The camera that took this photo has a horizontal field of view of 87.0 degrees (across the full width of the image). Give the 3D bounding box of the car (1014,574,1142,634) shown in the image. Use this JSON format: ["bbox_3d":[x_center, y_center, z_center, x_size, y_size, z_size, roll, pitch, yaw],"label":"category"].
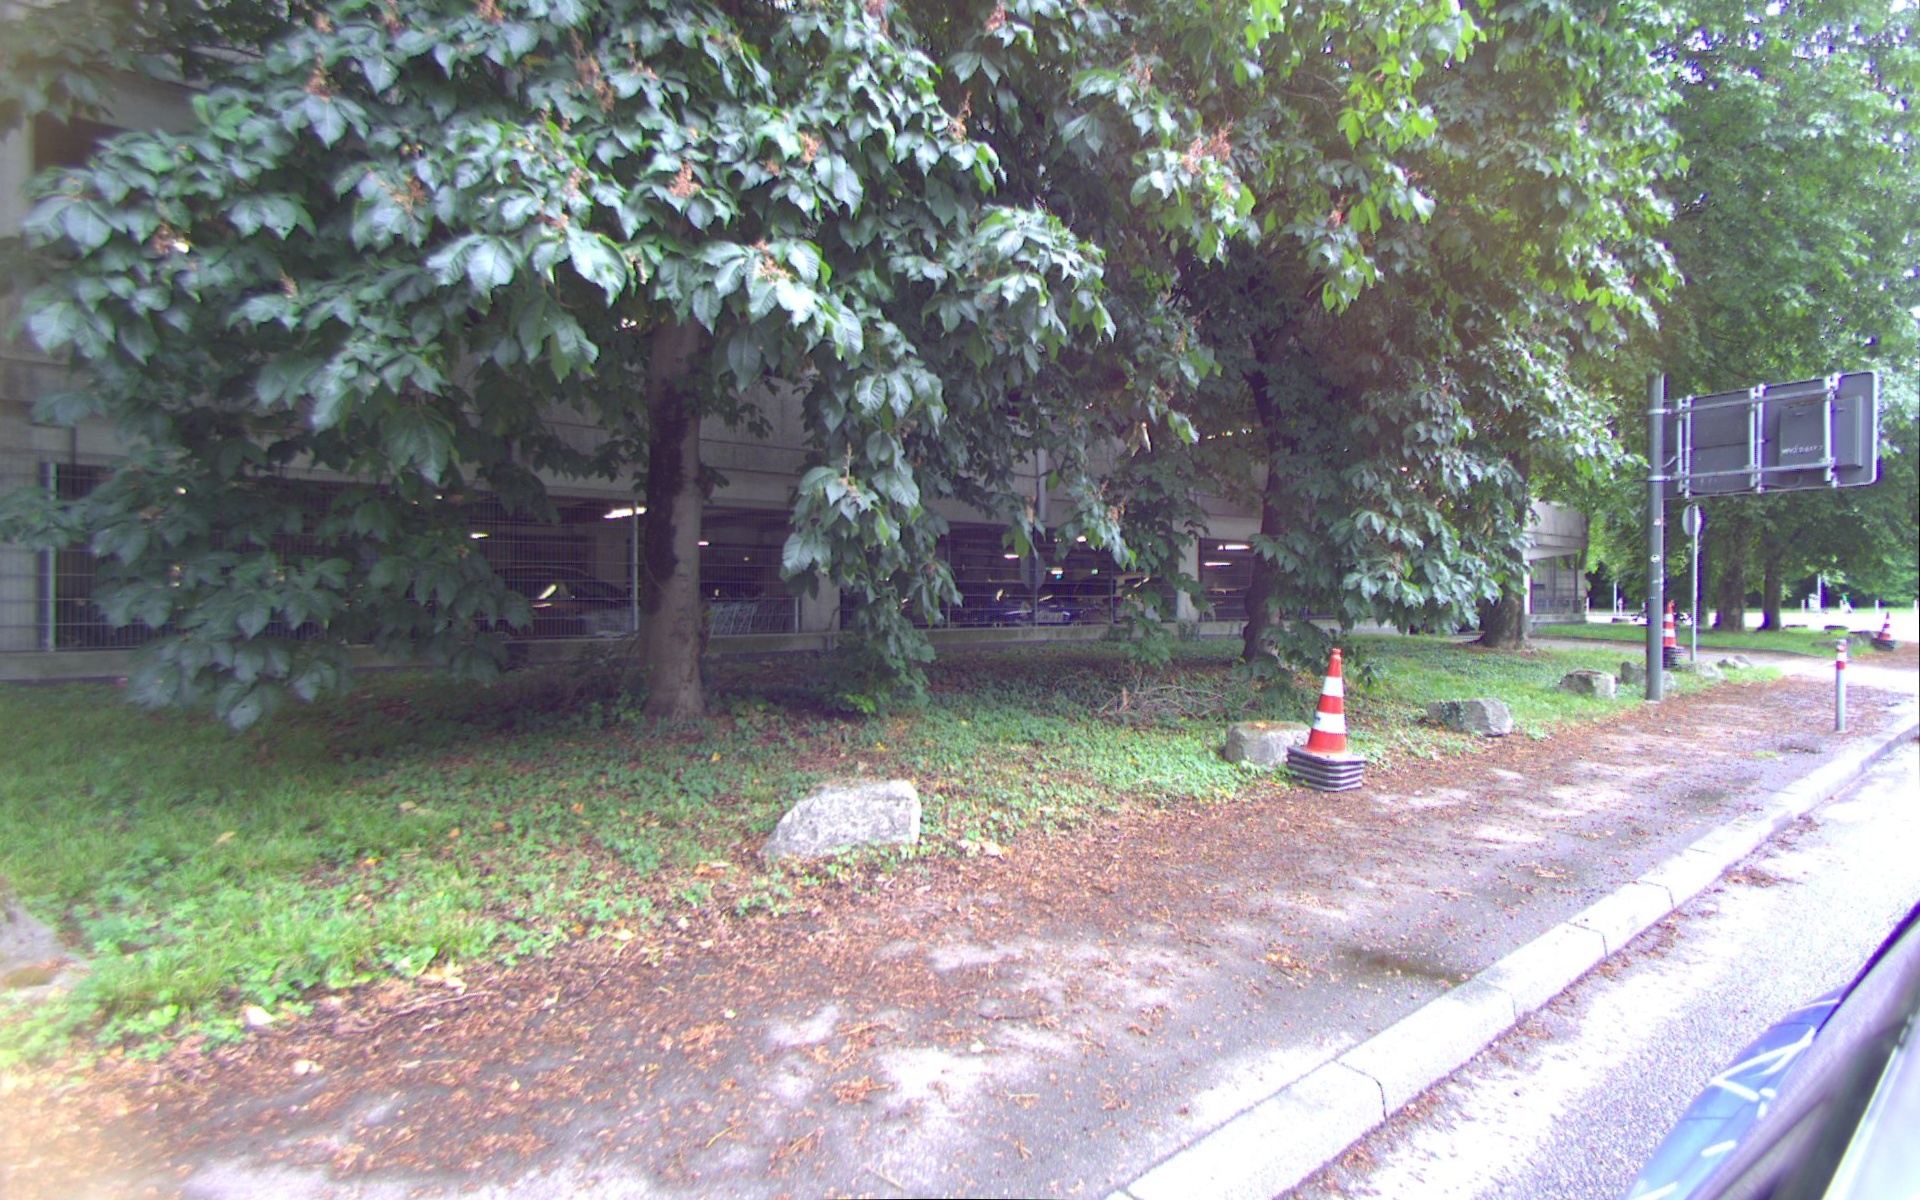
[{"bbox_3d":[3.458,0.092,29.413,3.629,1.606,1.718,-2,0,-42],"label":"car"}]

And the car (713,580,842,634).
[{"bbox_3d":[-5.706,0.184,31.860,3.638,1.565,1.719,-2,0,-41],"label":"car"}]

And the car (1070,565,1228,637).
[{"bbox_3d":[5.085,-0.019,26.819,4.587,1.730,1.588,-2,0,-41],"label":"car"}]

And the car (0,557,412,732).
[{"bbox_3d":[-10.324,0.475,13.896,4.594,2.039,1.996,-2,0,-41],"label":"car"}]

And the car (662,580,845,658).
[{"bbox_3d":[-4.580,0.369,22.699,3.639,1.565,1.718,-2,1,-42],"label":"car"}]

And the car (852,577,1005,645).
[{"bbox_3d":[-0.753,0.234,25.799,3.639,1.565,1.718,-2,1,-42],"label":"car"}]

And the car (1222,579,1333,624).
[{"bbox_3d":[11.373,0.021,36.143,3.927,1.471,1.876,-2,1,-38],"label":"car"}]

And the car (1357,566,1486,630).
[{"bbox_3d":[14.554,-0.071,31.805,4.653,1.858,1.922,-1,0,-41],"label":"car"}]

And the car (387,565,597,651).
[{"bbox_3d":[-9.747,0.113,21.202,3.639,1.627,1.718,-2,0,-42],"label":"car"}]

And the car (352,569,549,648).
[{"bbox_3d":[-11.435,0.142,22.847,3.639,1.627,1.718,-2,0,-42],"label":"car"}]

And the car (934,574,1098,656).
[{"bbox_3d":[1.362,0.301,23.805,3.790,1.730,1.588,-2,0,-41],"label":"car"}]

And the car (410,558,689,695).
[{"bbox_3d":[-6.863,0.350,17.082,3.929,2.039,1.997,-2,0,-40],"label":"car"}]

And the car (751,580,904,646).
[{"bbox_3d":[-3.440,0.299,26.543,3.639,1.565,1.718,-2,1,-42],"label":"car"}]
